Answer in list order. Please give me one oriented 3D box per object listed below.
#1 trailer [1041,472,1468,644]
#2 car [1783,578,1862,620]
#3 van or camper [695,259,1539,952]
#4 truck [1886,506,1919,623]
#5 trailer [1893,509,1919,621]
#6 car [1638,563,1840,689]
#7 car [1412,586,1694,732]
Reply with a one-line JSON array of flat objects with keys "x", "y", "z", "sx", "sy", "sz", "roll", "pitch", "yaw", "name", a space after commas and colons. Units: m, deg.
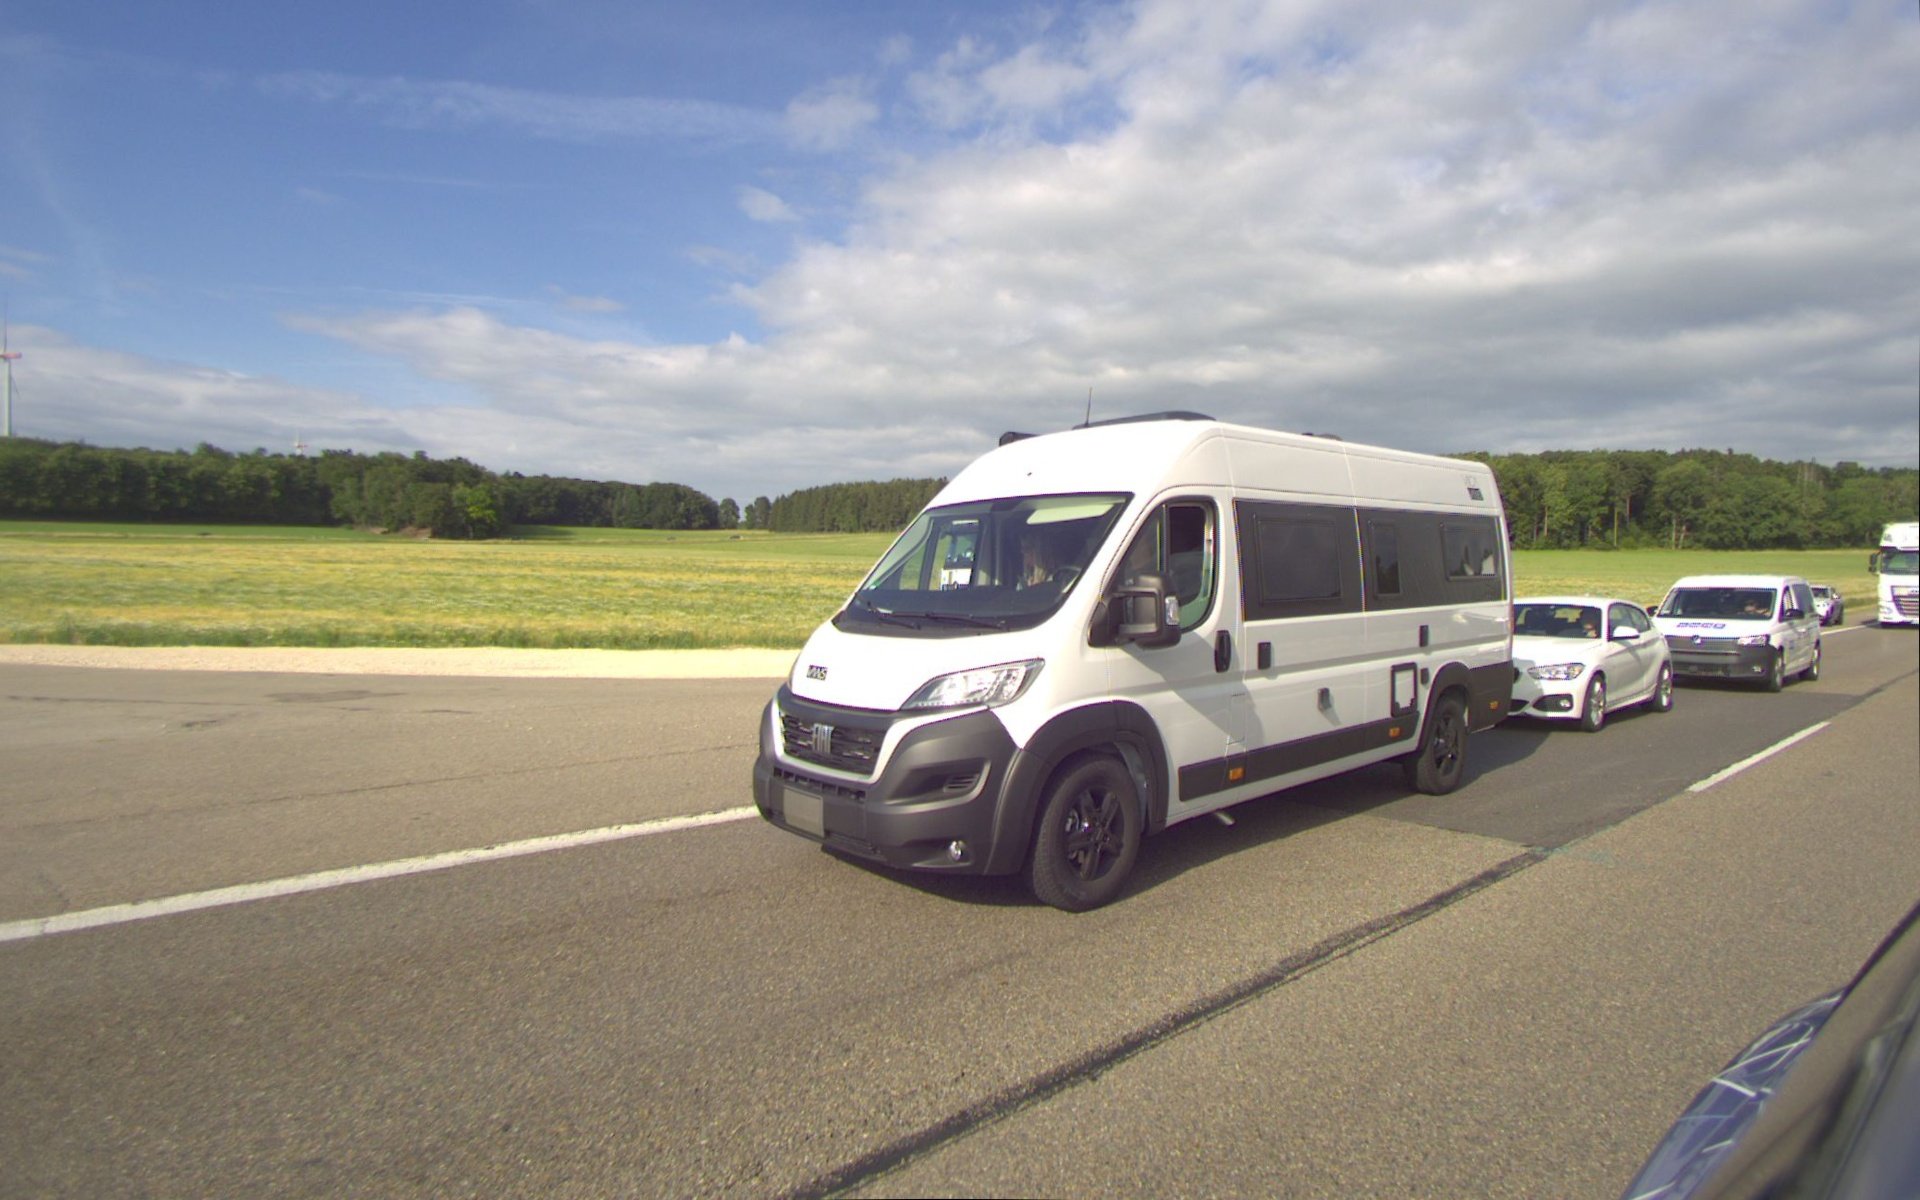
[{"x": 8.863, "y": -1.067, "z": 29.115, "sx": 13.544, "sy": 4.213, "sz": 2.748, "roll": 0, "pitch": 0, "yaw": -27, "name": "trailer"}, {"x": 35.091, "y": -0.084, "z": 41.132, "sx": 4.596, "sy": 1.612, "sz": 1.807, "roll": -1, "pitch": 2, "yaw": -42, "name": "car"}, {"x": 1.573, "y": -0.029, "z": 6.873, "sx": 6.223, "sy": 2.714, "sz": 2.219, "roll": -1, "pitch": 1, "yaw": -42, "name": "van or camper"}, {"x": 37.205, "y": -1.342, "z": 38.226, "sx": 5.668, "sy": 4.226, "sz": 2.733, "roll": -1, "pitch": 1, "yaw": -42, "name": "truck"}, {"x": 41.700, "y": -1.474, "z": 42.280, "sx": 13.780, "sy": 4.212, "sz": 2.739, "roll": -2, "pitch": 1, "yaw": -42, "name": "trailer"}, {"x": 12.723, "y": 0.343, "z": 16.414, "sx": 4.621, "sy": 1.779, "sz": 1.727, "roll": -1, "pitch": 0, "yaw": -41, "name": "car"}, {"x": 7.164, "y": 0.558, "z": 12.044, "sx": 4.159, "sy": 1.450, "sz": 1.706, "roll": -1, "pitch": 1, "yaw": -42, "name": "car"}]
